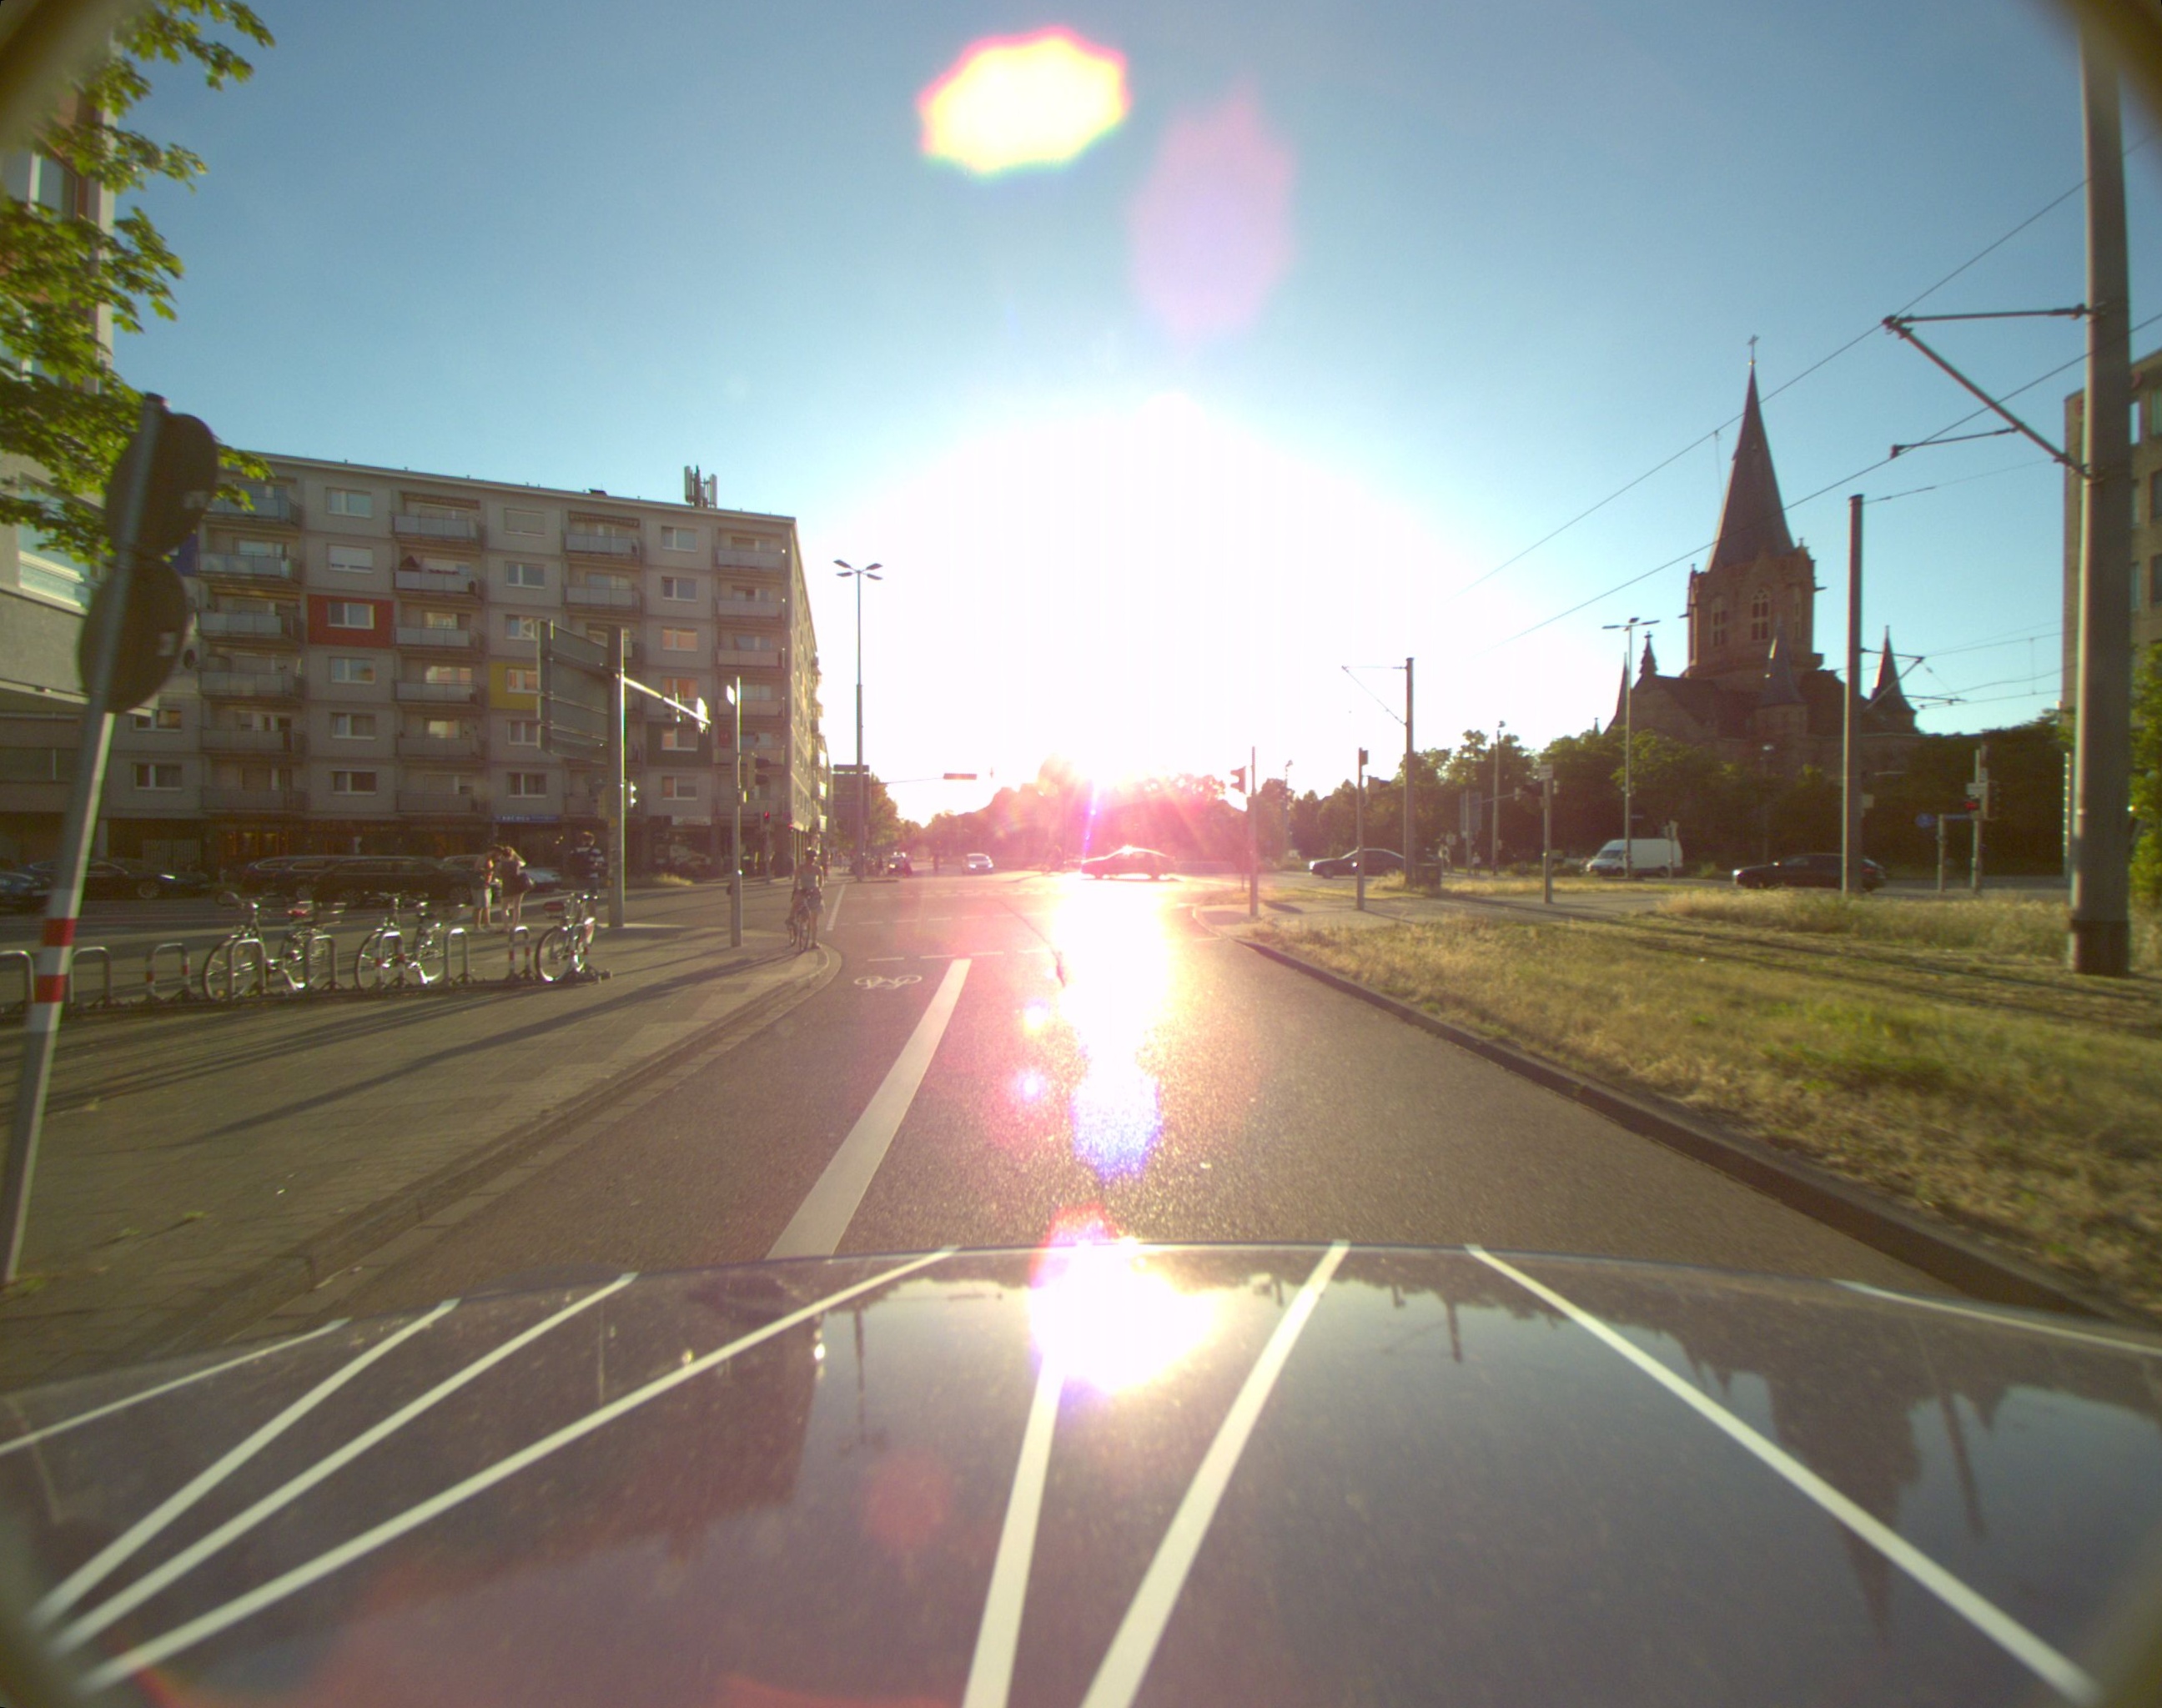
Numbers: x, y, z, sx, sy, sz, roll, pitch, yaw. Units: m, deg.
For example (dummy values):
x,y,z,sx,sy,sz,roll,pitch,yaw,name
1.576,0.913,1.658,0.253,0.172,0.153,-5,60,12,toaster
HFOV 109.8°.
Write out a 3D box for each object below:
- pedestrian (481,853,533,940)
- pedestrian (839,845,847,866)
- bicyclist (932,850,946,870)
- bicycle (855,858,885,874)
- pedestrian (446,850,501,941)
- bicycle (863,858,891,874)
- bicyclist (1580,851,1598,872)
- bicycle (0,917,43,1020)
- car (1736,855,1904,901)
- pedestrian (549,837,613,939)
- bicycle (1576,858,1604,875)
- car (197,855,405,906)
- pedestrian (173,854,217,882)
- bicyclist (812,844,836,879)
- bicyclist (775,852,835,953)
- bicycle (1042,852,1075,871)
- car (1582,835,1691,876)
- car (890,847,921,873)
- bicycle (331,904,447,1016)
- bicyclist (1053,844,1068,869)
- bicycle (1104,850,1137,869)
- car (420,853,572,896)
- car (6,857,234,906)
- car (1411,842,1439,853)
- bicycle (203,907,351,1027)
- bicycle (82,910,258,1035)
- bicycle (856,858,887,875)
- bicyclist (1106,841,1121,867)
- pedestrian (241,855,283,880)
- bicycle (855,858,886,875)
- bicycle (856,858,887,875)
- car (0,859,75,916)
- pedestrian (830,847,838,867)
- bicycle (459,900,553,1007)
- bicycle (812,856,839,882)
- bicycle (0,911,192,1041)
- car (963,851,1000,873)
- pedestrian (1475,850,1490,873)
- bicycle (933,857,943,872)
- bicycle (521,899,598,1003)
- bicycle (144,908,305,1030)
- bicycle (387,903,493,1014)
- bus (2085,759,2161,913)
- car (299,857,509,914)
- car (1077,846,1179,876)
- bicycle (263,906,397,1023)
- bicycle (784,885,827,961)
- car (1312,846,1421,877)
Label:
x,y,z,sx,sy,sz,roll,pitch,yaw,name
-11.046,0.796,14.650,0.518,1.635,0.707,-1,1,-13,pedestrian
-23.192,0.110,74.103,0.656,2.001,0.751,1,-2,-15,pedestrian
-11.406,0.475,61.123,0.997,1.529,0.921,-1,1,-17,bicyclist
-14.593,0.827,52.608,1.958,1.114,0.458,-1,1,-14,bicycle
-11.589,0.769,14.506,0.518,1.683,0.771,0,1,-13,pedestrian
-14.950,0.893,55.655,1.958,1.114,0.458,-1,1,-14,bicycle
37.576,0.555,56.184,0.734,1.559,0.822,-1,1,-11,bicyclist
-11.146,1.194,7.381,0.365,1.021,1.791,-1,0,-23,bicycle
26.945,0.822,27.853,2.003,1.533,3.991,-1,0,-28,car
-9.858,0.637,14.990,0.700,1.946,0.850,1,1,37,pedestrian
37.656,0.913,56.224,1.972,1.175,0.490,-1,1,-12,bicycle
-24.944,0.823,24.475,4.243,1.460,1.998,-1,0,-11,car
-41.882,0.651,35.932,1.046,1.290,0.905,-1,1,10,pedestrian
-11.862,0.352,35.082,0.822,1.559,0.734,-1,1,3,bicyclist
-4.280,0.720,11.773,0.799,1.472,0.805,-1,1,-23,bicyclist
-1.425,0.476,48.173,1.973,1.175,0.490,-1,1,-16,bicycle
39.599,0.090,54.148,7.206,2.861,2.305,0,0,-16,car
-14.471,0.464,62.570,2.002,2.002,3.993,-1,0,-20,car
-7.770,1.136,8.609,0.369,1.021,1.791,-1,0,-23,bicycle
-1.291,0.139,48.183,0.734,1.559,0.822,-1,1,-16,bicyclist
2.477,0.354,47.705,1.972,1.175,0.490,0,0,-12,bicycle
-21.687,0.720,28.319,4.013,1.460,1.918,-1,0,-11,car
-31.934,0.875,25.423,4.542,1.486,1.703,-1,0,-17,car
60.682,-1.120,134.062,2.004,1.811,4.120,-2,0,-43,car
-8.558,1.147,8.174,0.361,1.021,1.791,-1,0,-22,bicycle
-9.334,1.155,7.874,0.365,1.021,1.791,-1,0,-23,bicycle
-14.350,0.827,52.077,1.958,1.114,0.458,-1,1,-14,bicycle
2.064,-0.009,47.638,0.734,1.559,0.822,-1,1,-11,bicyclist
-39.155,0.634,36.336,1.046,1.159,0.905,-1,1,10,pedestrian
-14.054,0.837,50.825,1.958,1.114,0.458,-1,1,-14,bicycle
-14.222,0.823,51.560,1.958,1.114,0.458,-1,1,-14,bicycle
-29.716,0.898,19.757,3.928,1.443,1.801,-1,0,-18,car
-24.065,0.293,74.065,0.718,2.002,0.645,-1,1,-15,pedestrian
-6.696,1.105,8.924,0.361,1.021,1.791,-1,0,-21,bicycle
-11.866,0.692,35.369,0.490,1.175,1.972,-1,0,3,bicycle
-9.799,1.147,7.620,0.365,1.021,1.791,-1,0,-23,bicycle
-7.328,0.586,55.578,1.958,1.484,3.953,-1,0,-18,car
29.517,0.574,55.870,0.663,1.672,0.657,-1,1,-14,pedestrian
-11.537,0.856,61.370,0.576,1.193,2.203,-1,0,-16,bicycle
-6.188,1.094,9.083,0.361,1.021,1.791,-1,0,-22,bicycle
-8.941,1.144,8.017,0.365,1.021,1.791,-1,0,-23,bicycle
-7.236,1.128,8.653,0.361,1.021,1.791,-1,0,-22,bicycle
27.381,-0.449,12.783,3.763,3.435,12.113,-1,0,-18,bus
-20.025,0.875,22.717,4.192,1.418,1.928,-2,3,-17,car
2.334,0.335,38.740,5.038,1.428,1.878,1,1,0,car
-8.150,1.145,8.326,0.361,1.021,1.791,-1,0,-22,bicycle
-4.333,1.028,11.888,0.516,1.021,1.791,-1,0,-23,bicycle
14.199,0.376,37.980,5.016,1.499,1.727,-1,1,20,car
